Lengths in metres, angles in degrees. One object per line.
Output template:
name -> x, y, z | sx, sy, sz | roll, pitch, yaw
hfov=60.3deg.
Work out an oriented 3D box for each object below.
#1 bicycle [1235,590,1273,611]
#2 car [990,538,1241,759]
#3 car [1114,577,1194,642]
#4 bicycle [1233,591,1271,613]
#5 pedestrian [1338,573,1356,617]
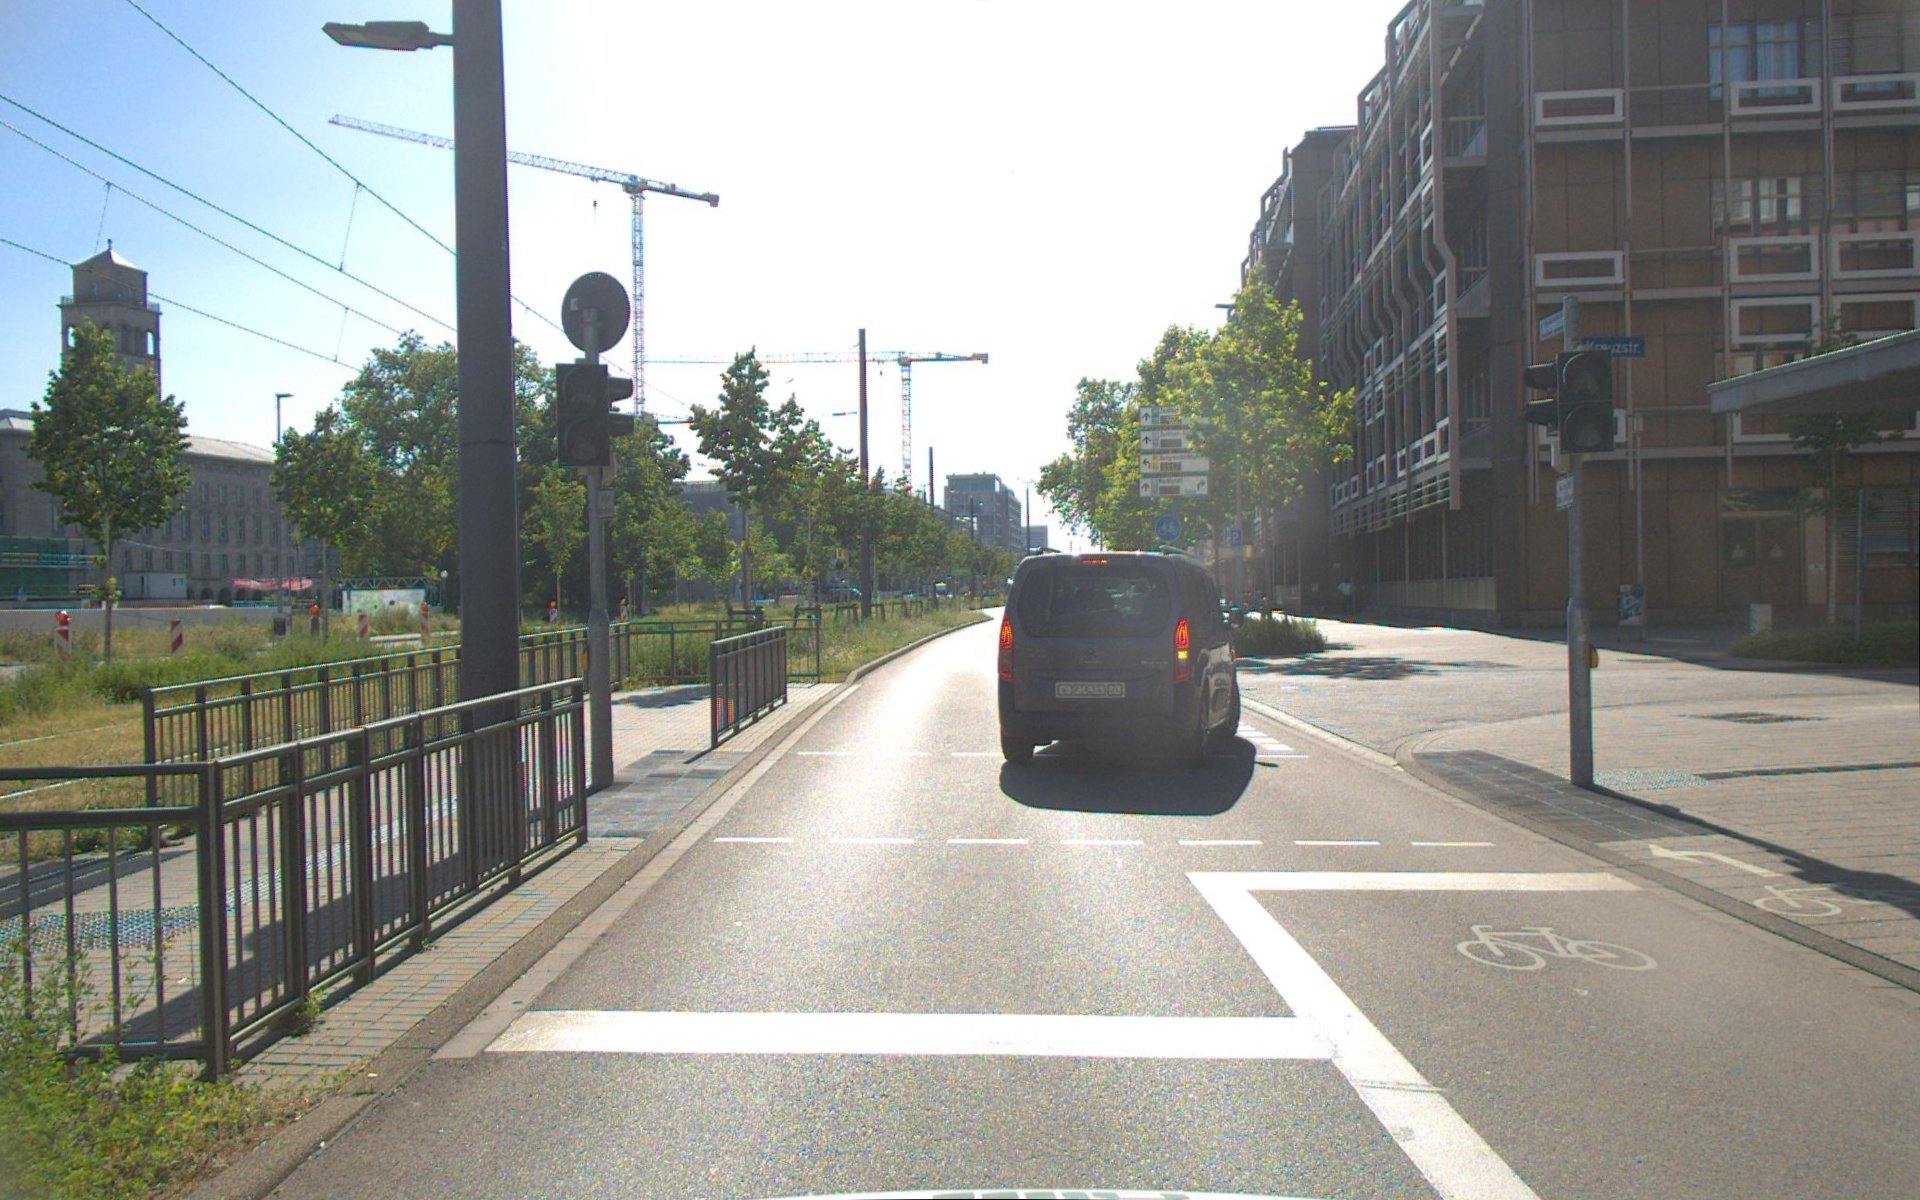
bicycle -> 14.572, 0.023, 82.049 | 1.818, 0.955, 0.427 | -3, 0, 8
car -> 1.602, 0.395, 15.564 | 1.773, 1.783, 4.171 | -1, 0, 13
car -> 5.342, 0.244, 45.935 | 1.711, 1.688, 4.470 | -1, 0, 1
bicycle -> 14.694, 0.090, 83.184 | 1.818, 1.028, 0.427 | -3, 0, 8
pedestrian -> 14.906, -0.191, 63.660 | 0.500, 1.651, 0.674 | -3, 0, 6
